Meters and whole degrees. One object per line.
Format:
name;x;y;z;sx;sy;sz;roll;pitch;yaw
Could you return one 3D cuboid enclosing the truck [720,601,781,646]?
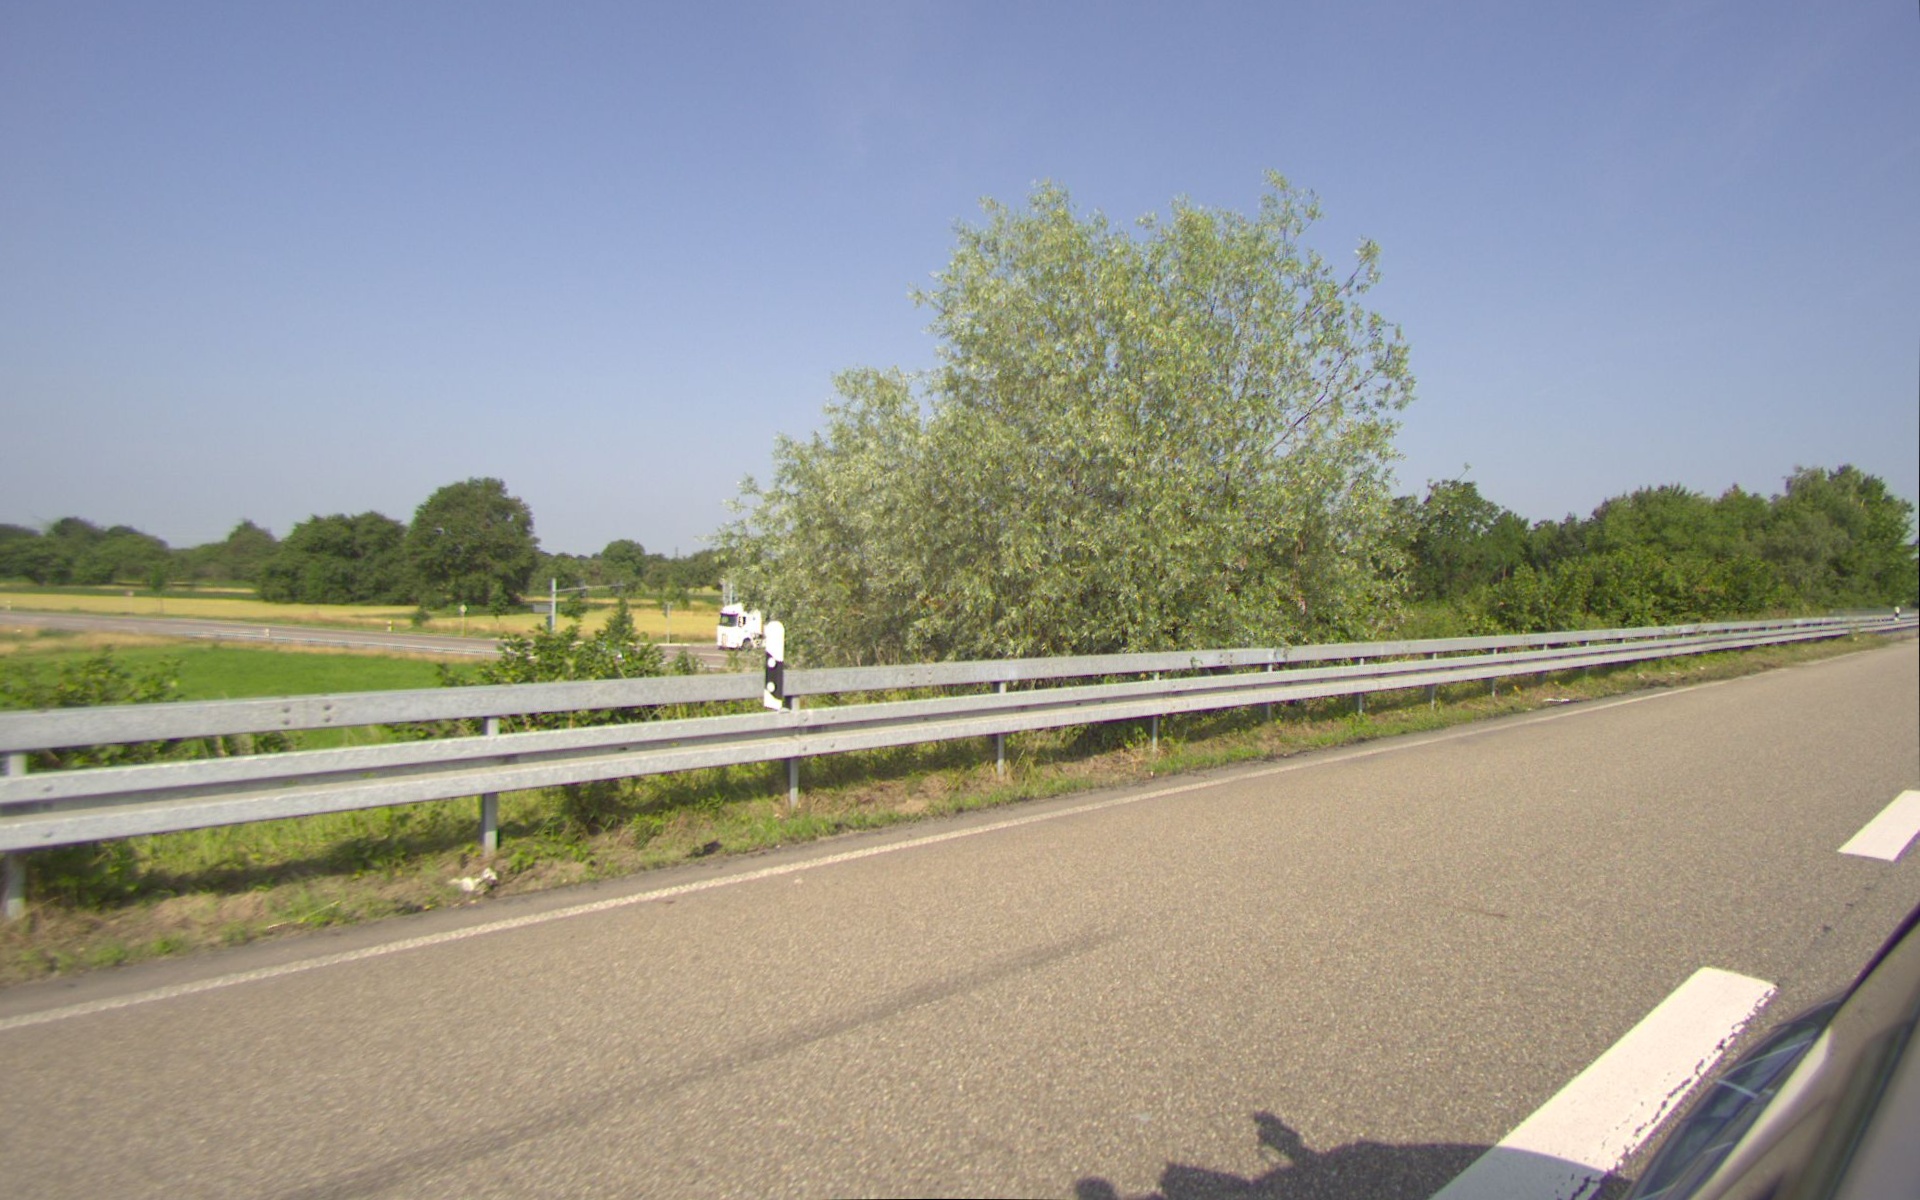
truck;-18.106;1.994;87.522;2.101;3.724;4.867;1;0;42
